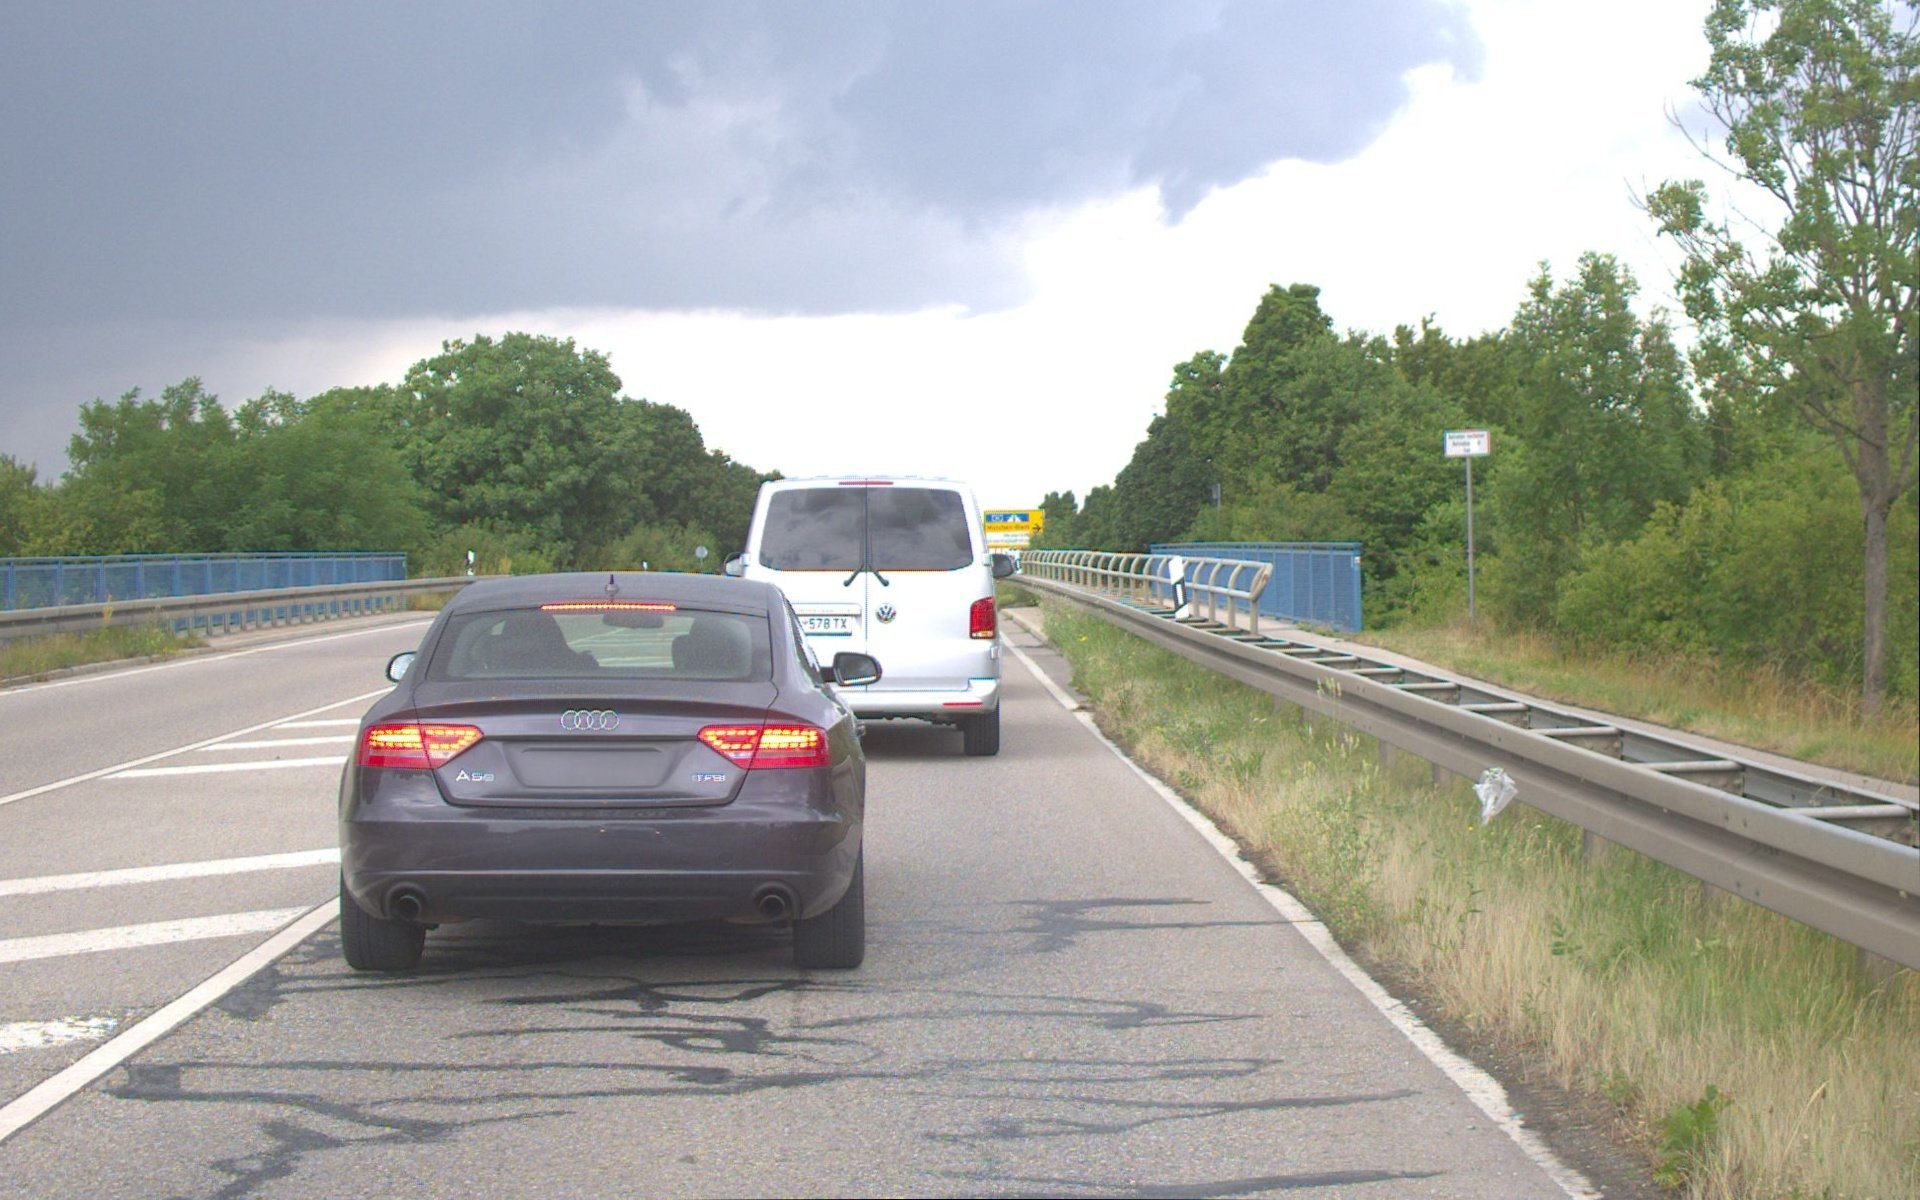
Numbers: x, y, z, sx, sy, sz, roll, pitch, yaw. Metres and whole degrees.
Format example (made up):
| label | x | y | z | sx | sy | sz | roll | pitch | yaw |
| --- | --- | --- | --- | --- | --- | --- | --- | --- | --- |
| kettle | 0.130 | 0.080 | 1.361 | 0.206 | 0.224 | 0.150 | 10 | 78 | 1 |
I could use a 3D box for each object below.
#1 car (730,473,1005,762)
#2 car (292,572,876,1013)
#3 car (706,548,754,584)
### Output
| label | x | y | z | sx | sy | sz | roll | pitch | yaw |
| --- | --- | --- | --- | --- | --- | --- | --- | --- | --- |
| car | -0.652 | 0.090 | 25.167 | 1.828 | 1.929 | 4.000 | -1 | 1 | -1 |
| car | -1.260 | 0.605 | 13.119 | 1.821 | 1.376 | 4.072 | -1 | 1 | -1 |
| car | -9.428 | -1.397 | 140.968 | 1.799 | 1.445 | 4.446 | -1 | 1 | -2 |
